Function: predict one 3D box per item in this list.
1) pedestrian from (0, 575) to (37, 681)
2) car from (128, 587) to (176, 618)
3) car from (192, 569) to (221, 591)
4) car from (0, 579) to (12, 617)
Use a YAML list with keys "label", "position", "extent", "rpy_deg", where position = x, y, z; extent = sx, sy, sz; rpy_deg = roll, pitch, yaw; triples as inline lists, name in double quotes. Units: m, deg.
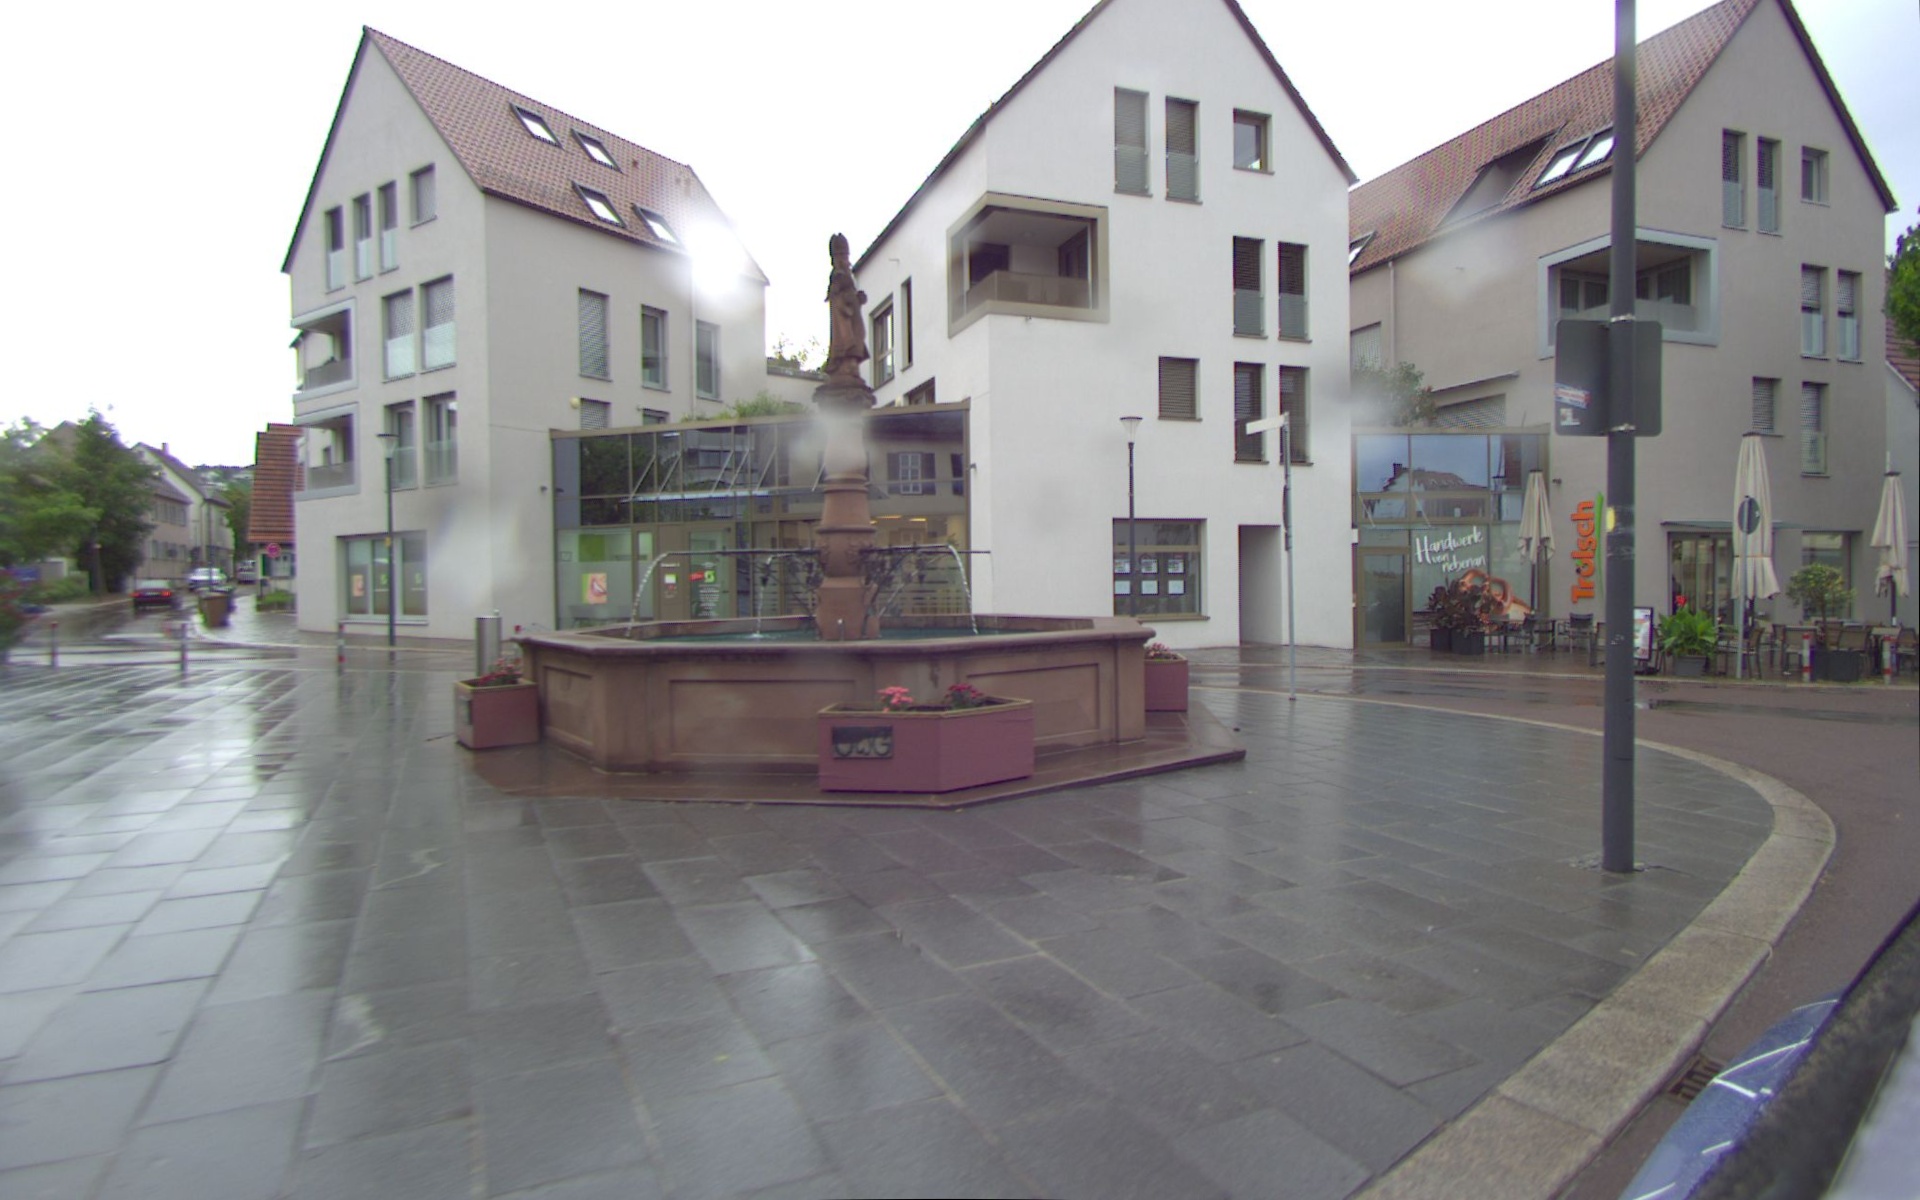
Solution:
- label: "pedestrian"
  position: [-16.928, 0.481, 17.832]
  extent: [0.679, 1.844, 0.786]
  rpy_deg: [1, 1, 25]
- label: "car"
  position: [-39.451, 0.102, 49.455]
  extent: [1.641, 1.380, 3.606]
  rpy_deg: [-1, 2, -36]
- label: "car"
  position: [-53.772, -1.451, 72.245]
  extent: [1.641, 1.571, 3.606]
  rpy_deg: [-1, 2, -36]
- label: "car"
  position: [-41.296, -0.089, 41.401]
  extent: [3.483, 1.567, 1.863]
  rpy_deg: [-1, 2, -38]
